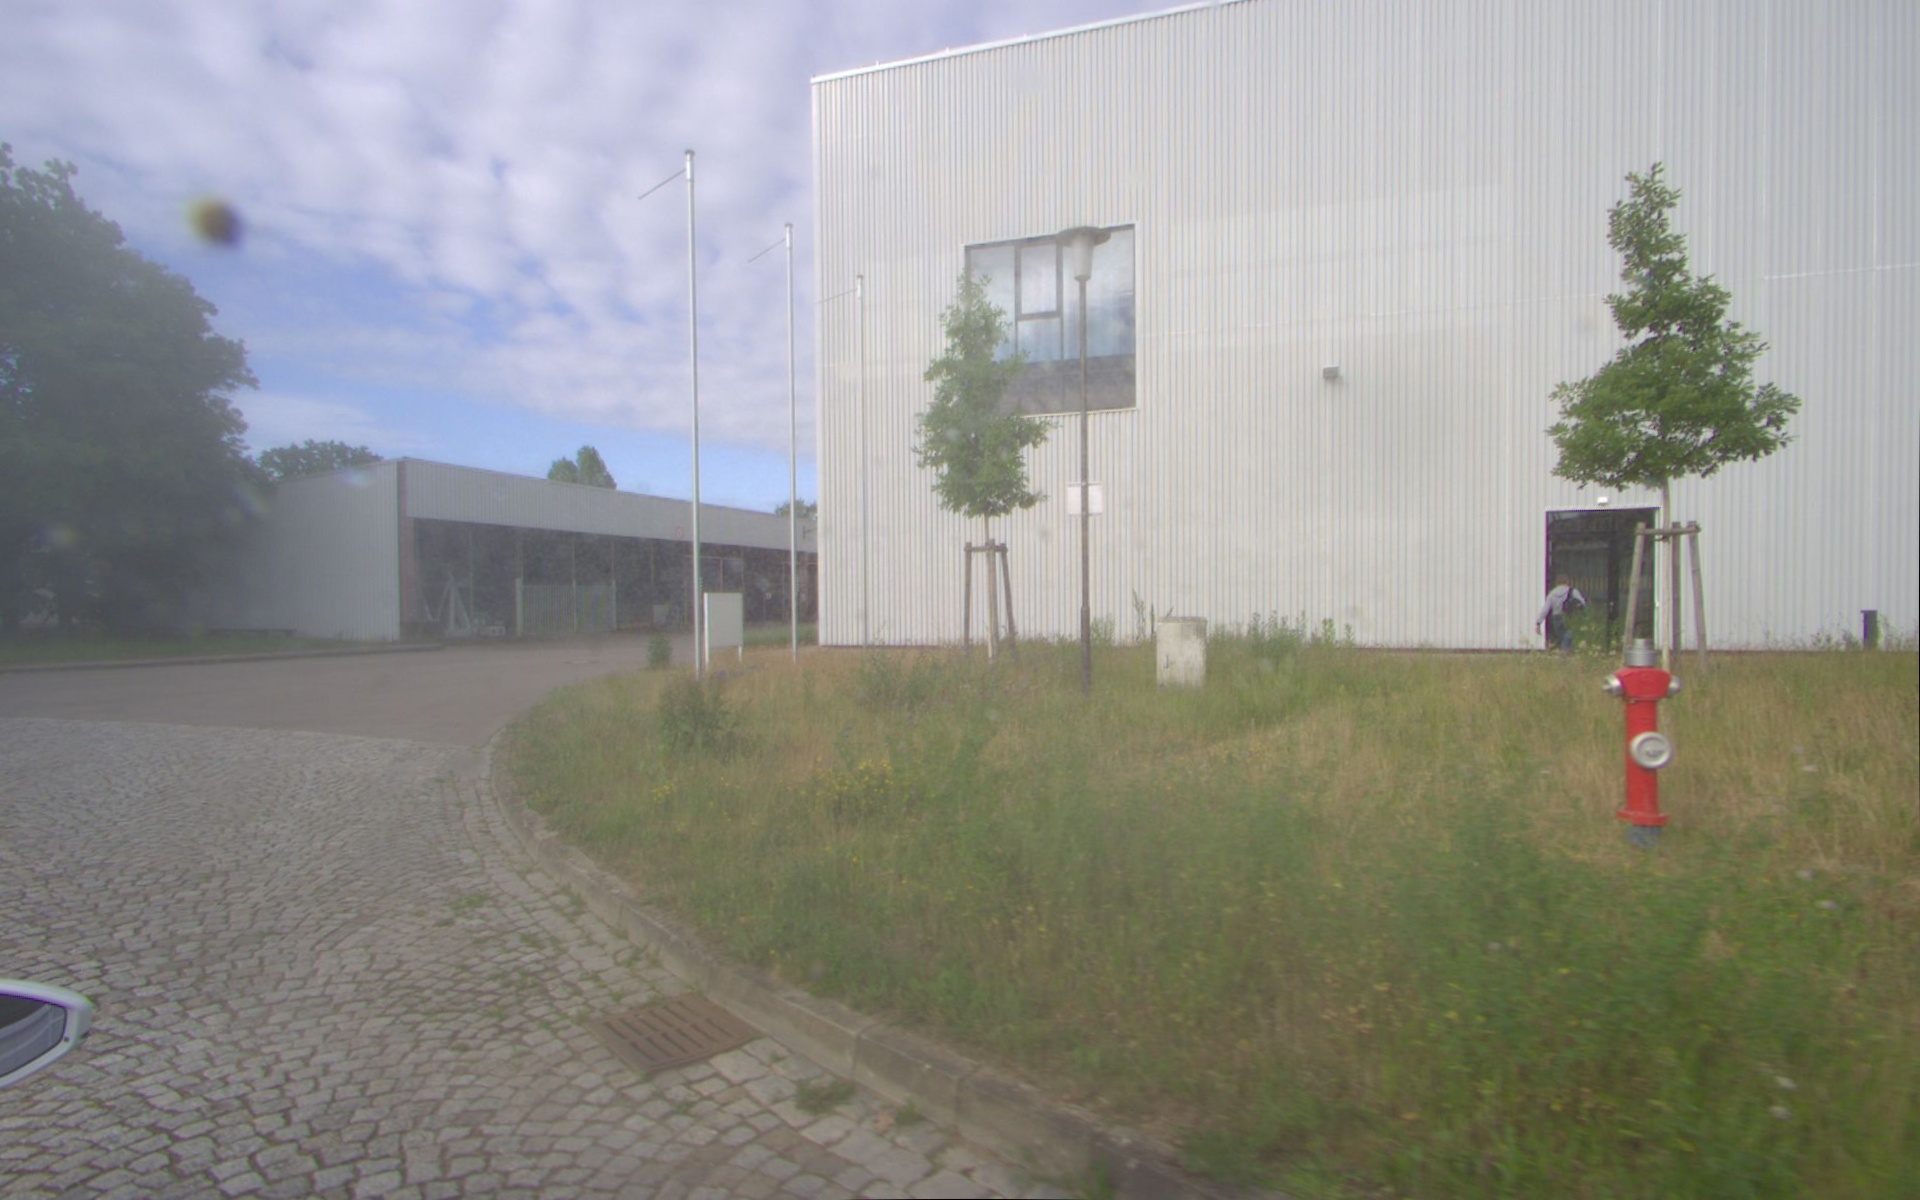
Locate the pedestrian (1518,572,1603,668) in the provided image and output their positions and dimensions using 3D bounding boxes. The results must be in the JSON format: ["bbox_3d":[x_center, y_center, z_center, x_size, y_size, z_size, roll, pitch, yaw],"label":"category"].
[{"bbox_3d":[10.299,0.319,17.176,1.063,1.577,1.069,0,1,43],"label":"pedestrian"}]

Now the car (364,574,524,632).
[{"bbox_3d":[-19.182,0.107,37.294,5.241,2.041,2.244,0,1,18],"label":"car"}]
